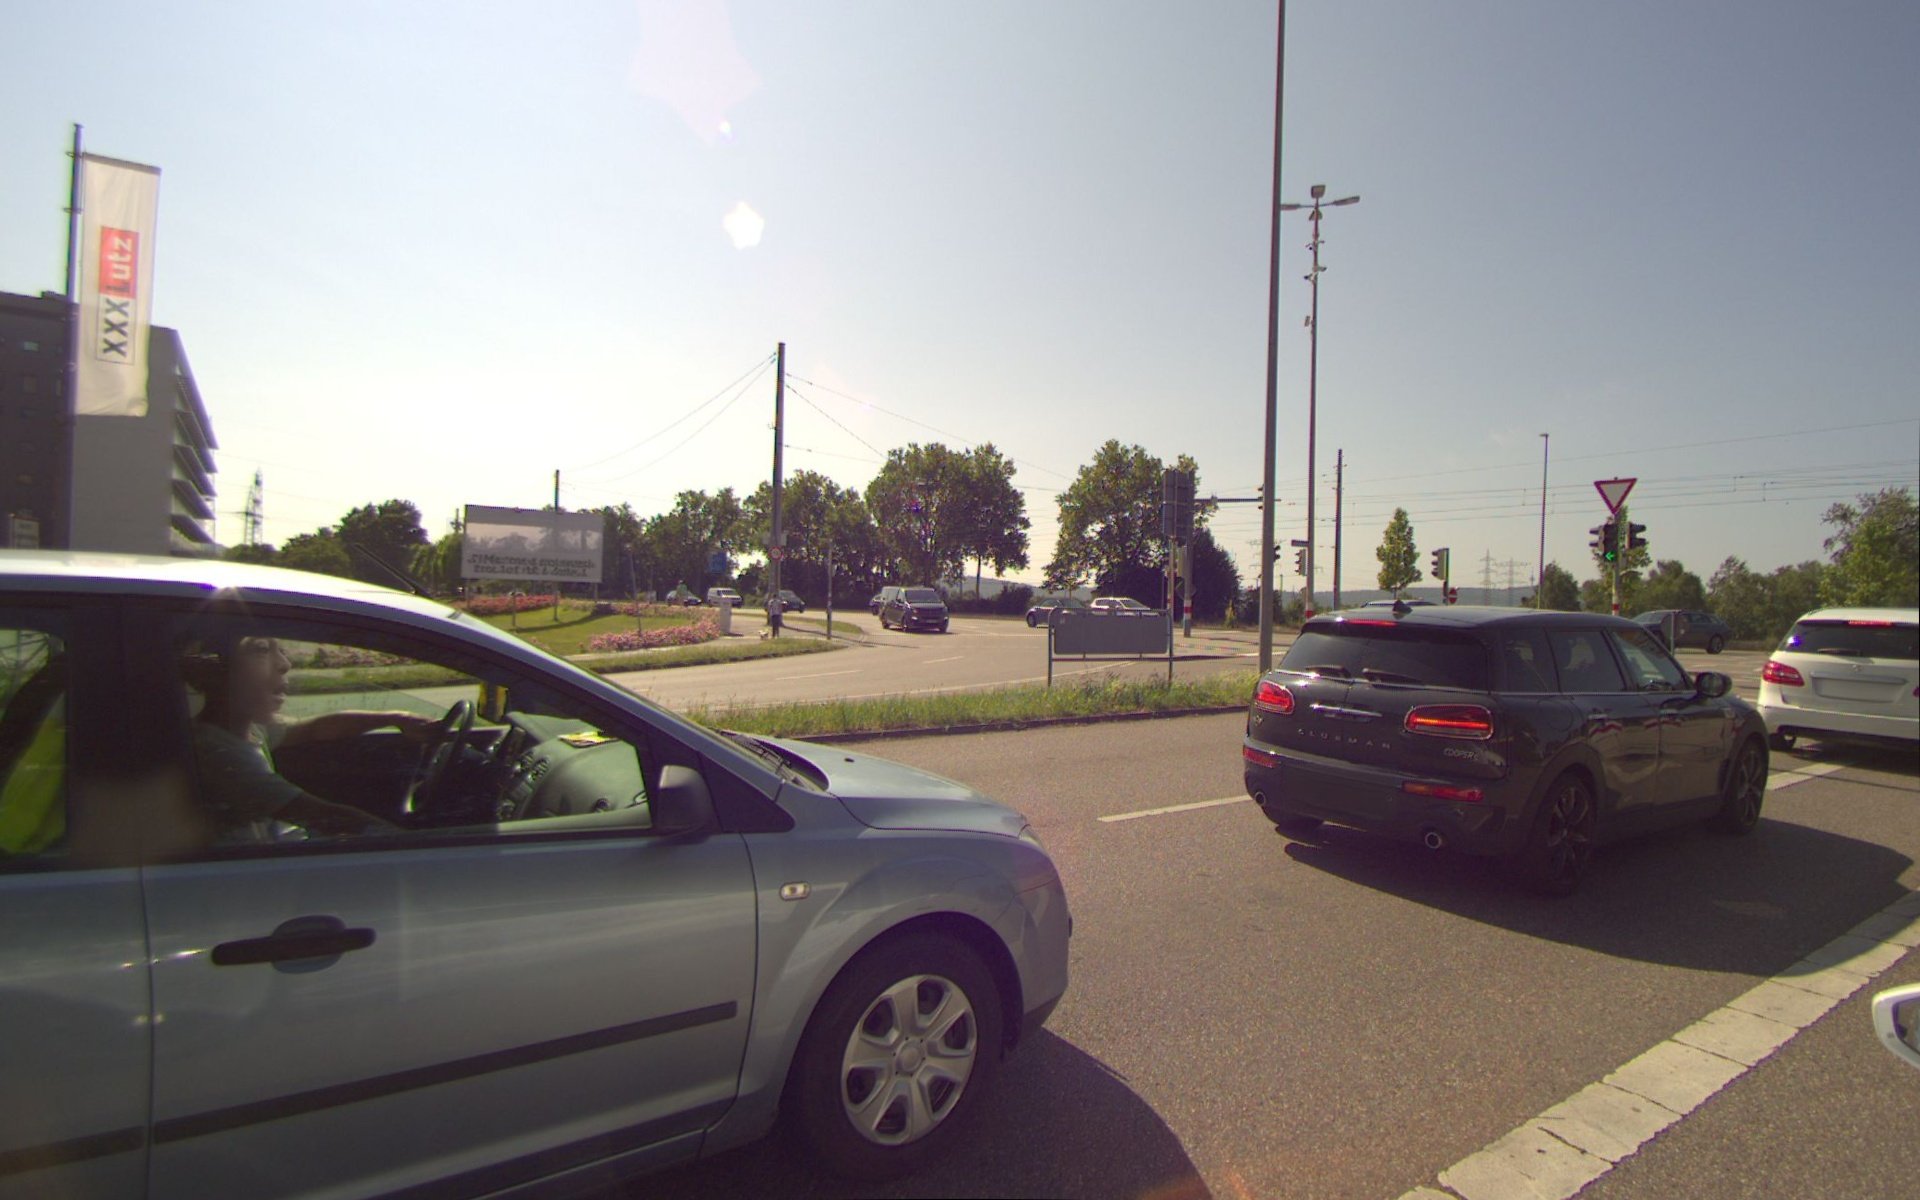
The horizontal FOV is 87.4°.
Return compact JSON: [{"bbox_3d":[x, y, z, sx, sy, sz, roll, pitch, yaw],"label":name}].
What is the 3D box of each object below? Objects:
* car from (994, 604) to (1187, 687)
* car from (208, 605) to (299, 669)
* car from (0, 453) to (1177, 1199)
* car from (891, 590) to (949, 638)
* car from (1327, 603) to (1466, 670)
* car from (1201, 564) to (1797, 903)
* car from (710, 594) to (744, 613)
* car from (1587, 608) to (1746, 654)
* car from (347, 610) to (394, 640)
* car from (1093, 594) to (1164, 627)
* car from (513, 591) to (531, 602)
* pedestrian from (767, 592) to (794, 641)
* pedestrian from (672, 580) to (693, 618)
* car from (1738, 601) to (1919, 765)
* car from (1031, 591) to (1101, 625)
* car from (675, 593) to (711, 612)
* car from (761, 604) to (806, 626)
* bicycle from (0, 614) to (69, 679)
[{"bbox_3d":[1.783,0.590,13.536,2.466,1.017,1.111,1,-1,-34],"label":"car"},{"bbox_3d":[-20.280,1.016,28.755,1.811,1.626,4.149,3,-1,-39],"label":"car"},{"bbox_3d":[-1.542,0.591,2.371,4.133,1.594,1.694,1,0,-36],"label":"car"},{"bbox_3d":[-1.810,0.572,43.800,1.785,1.951,3.989,1,1,-13],"label":"car"},{"bbox_3d":[11.661,0.911,26.770,3.877,1.646,1.616,0,0,-35],"label":"car"},{"bbox_3d":[3.615,0.646,6.459,4.159,1.532,1.726,1,-1,-35],"label":"car"},{"bbox_3d":[-21.274,0.339,91.690,1.617,1.646,3.746,1,0,-37],"label":"car"},{"bbox_3d":[24.770,1.067,35.251,4.734,1.523,2.059,1,0,-16],"label":"car"},{"bbox_3d":[-30.560,1.281,52.051,1.713,1.347,3.821,3,-1,-36],"label":"car"},{"bbox_3d":[8.161,0.495,48.842,1.398,1.519,3.317,3,-1,-38],"label":"car"},{"bbox_3d":[-64.957,-0.515,149.015,1.617,1.646,3.746,1,0,-37],"label":"car"},{"bbox_3d":[-6.391,0.594,35.755,0.829,1.729,0.902,1,0,-18],"label":"pedestrian"},{"bbox_3d":[-14.946,-0.070,54.102,0.907,1.998,0.712,3,-1,-31],"label":"pedestrian"},{"bbox_3d":[10.234,0.799,10.828,4.345,1.467,1.730,1,0,-35],"label":"car"},{"bbox_3d":[4.995,0.352,47.639,1.397,1.519,3.361,3,-1,-37],"label":"car"},{"bbox_3d":[-24.145,0.259,90.636,1.890,1.593,3.799,3,-1,-35],"label":"car"},{"bbox_3d":[-12.911,1.054,73.339,1.745,1.541,3.959,1,-1,-36],"label":"car"},{"bbox_3d":[-15.571,0.752,16.277,1.630,1.036,0.328,4,-3,-39],"label":"bicycle"}]
